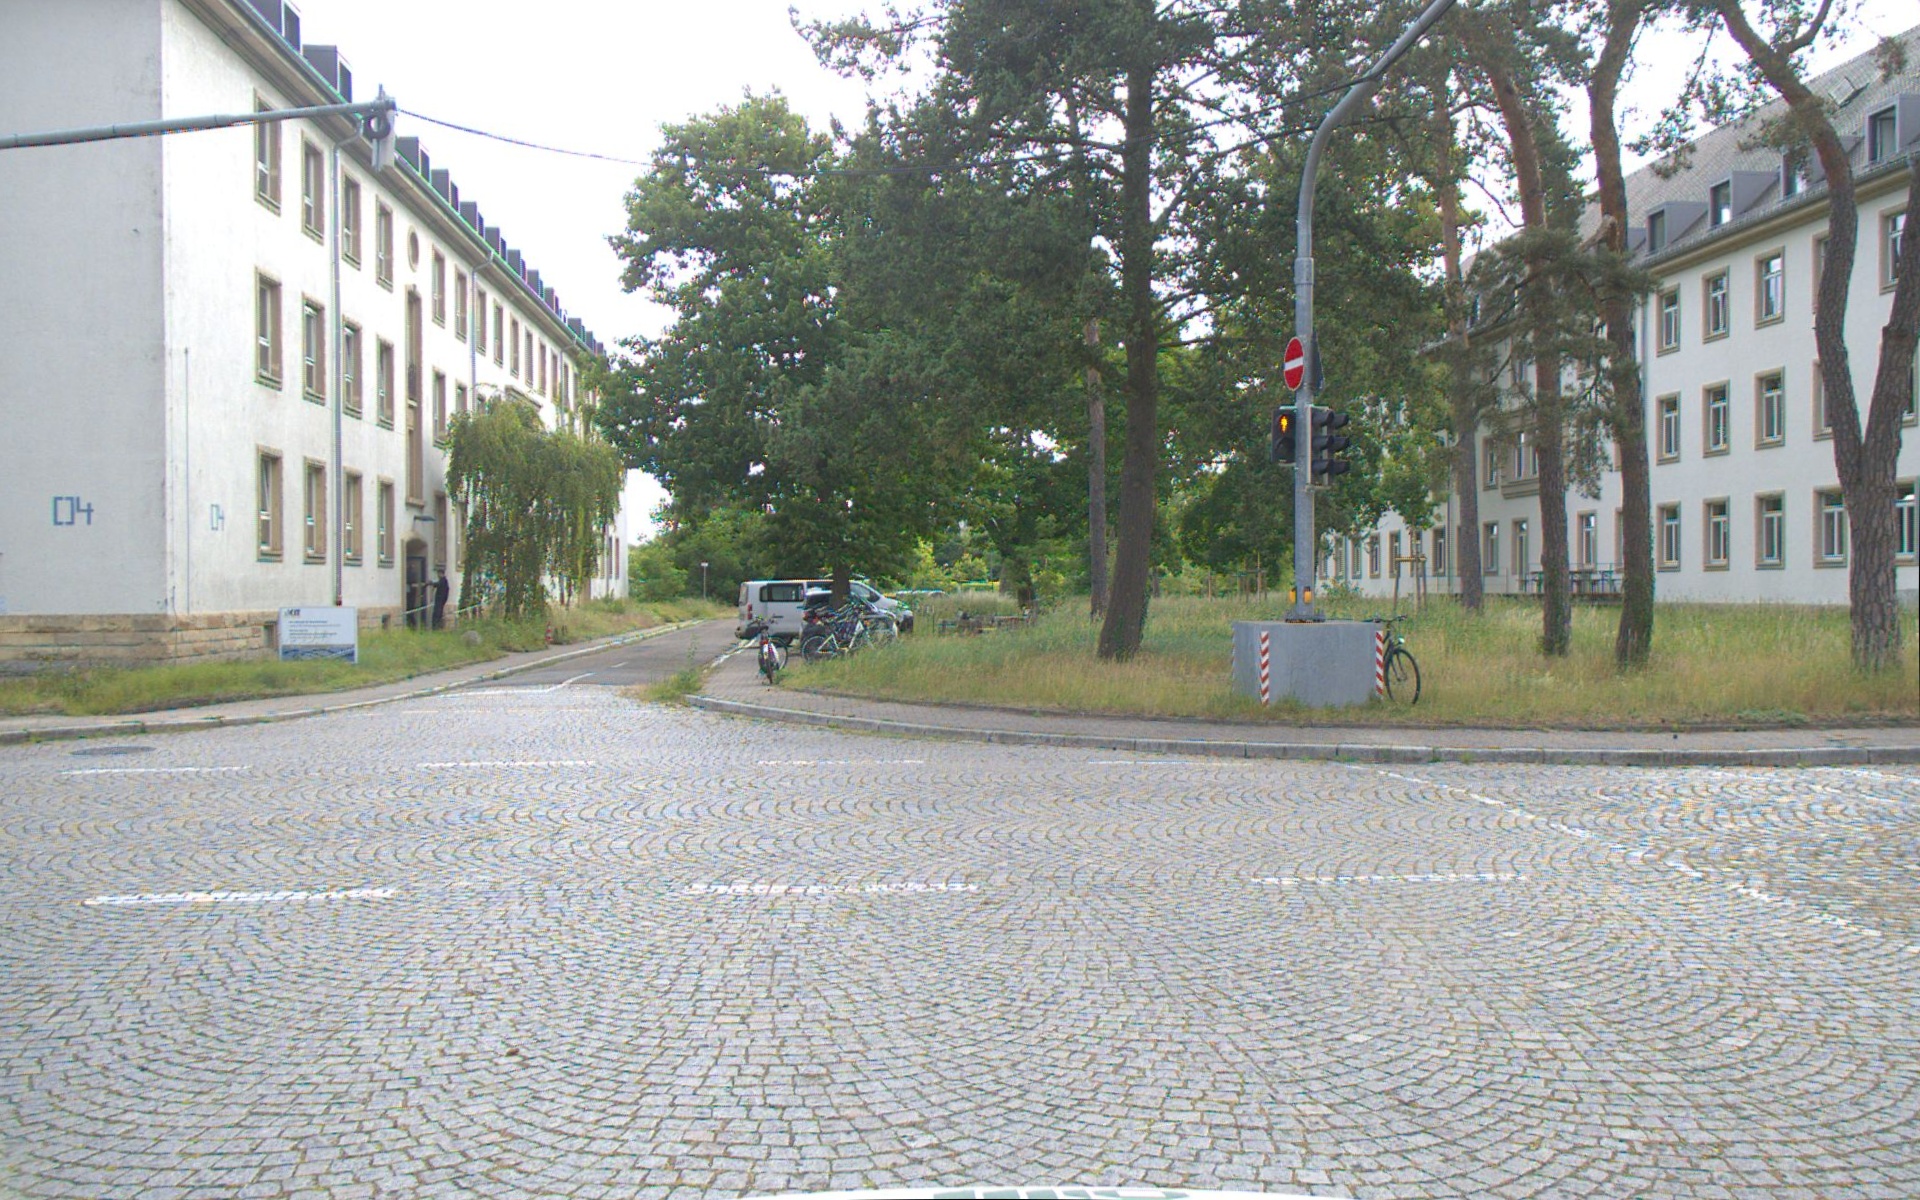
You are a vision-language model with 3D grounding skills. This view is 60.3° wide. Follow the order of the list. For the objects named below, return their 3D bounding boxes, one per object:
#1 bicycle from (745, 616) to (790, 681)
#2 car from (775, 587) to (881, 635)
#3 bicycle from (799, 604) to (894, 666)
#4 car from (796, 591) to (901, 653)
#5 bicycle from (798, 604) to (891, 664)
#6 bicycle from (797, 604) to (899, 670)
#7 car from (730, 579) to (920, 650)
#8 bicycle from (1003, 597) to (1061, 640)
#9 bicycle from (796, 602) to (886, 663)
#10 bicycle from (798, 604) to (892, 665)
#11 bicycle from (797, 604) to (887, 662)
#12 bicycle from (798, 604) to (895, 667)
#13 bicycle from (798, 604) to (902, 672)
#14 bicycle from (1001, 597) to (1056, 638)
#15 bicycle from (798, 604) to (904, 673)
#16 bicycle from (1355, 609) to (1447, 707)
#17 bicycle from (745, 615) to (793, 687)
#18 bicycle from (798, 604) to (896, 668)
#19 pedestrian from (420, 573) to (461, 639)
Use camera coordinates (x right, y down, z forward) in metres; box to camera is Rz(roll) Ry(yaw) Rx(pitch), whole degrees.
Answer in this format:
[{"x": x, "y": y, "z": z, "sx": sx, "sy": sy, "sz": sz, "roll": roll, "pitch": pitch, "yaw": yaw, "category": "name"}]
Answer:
[{"x": -3.390, "y": 0.844, "z": 29.287, "sx": 0.609, "sy": 1.101, "sz": 1.677, "roll": 1, "pitch": 0, "yaw": -1, "category": "bicycle"}, {"x": -5.002, "y": 0.394, "z": 62.653, "sx": 3.954, "sy": 1.748, "sz": 1.679, "roll": -1, "pitch": 0, "yaw": -6, "category": "car"}, {"x": -2.366, "y": 0.720, "z": 34.386, "sx": 1.944, "sy": 1.269, "sz": 0.623, "roll": 1, "pitch": 0, "yaw": -7, "category": "bicycle"}, {"x": -3.068, "y": 0.577, "z": 45.409, "sx": 2.792, "sy": 1.585, "sz": 1.470, "roll": -1, "pitch": 1, "yaw": -6, "category": "car"}, {"x": -2.482, "y": 0.721, "z": 35.457, "sx": 1.944, "sy": 1.269, "sz": 0.623, "roll": 1, "pitch": 0, "yaw": -7, "category": "bicycle"}, {"x": -2.200, "y": 0.716, "z": 32.377, "sx": 1.944, "sy": 1.269, "sz": 0.623, "roll": 1, "pitch": 0, "yaw": -7, "category": "bicycle"}, {"x": -3.978, "y": 0.395, "z": 48.815, "sx": 5.225, "sy": 1.949, "sz": 2.138, "roll": -1, "pitch": 0, "yaw": -20, "category": "car"}, {"x": 1.942, "y": 0.486, "z": 44.783, "sx": 1.518, "sy": 1.144, "sz": 0.401, "roll": 0, "pitch": 0, "yaw": -3, "category": "bicycle"}, {"x": -2.675, "y": 0.724, "z": 37.112, "sx": 1.944, "sy": 1.269, "sz": 0.623, "roll": -2, "pitch": 0, "yaw": -7, "category": "bicycle"}, {"x": -2.433, "y": 0.720, "z": 34.799, "sx": 1.944, "sy": 1.269, "sz": 0.623, "roll": 1, "pitch": 0, "yaw": -7, "category": "bicycle"}, {"x": -2.613, "y": 0.723, "z": 36.456, "sx": 1.944, "sy": 1.269, "sz": 0.623, "roll": 1, "pitch": 0, "yaw": -7, "category": "bicycle"}, {"x": -2.333, "y": 0.719, "z": 33.862, "sx": 1.944, "sy": 1.269, "sz": 0.623, "roll": 1, "pitch": 0, "yaw": -7, "category": "bicycle"}, {"x": -2.100, "y": 0.714, "z": 31.457, "sx": 1.944, "sy": 1.269, "sz": 0.623, "roll": 1, "pitch": 0, "yaw": -7, "category": "bicycle"}, {"x": 1.904, "y": 0.486, "z": 46.015, "sx": 1.518, "sy": 1.144, "sz": 0.401, "roll": 0, "pitch": 0, "yaw": -3, "category": "bicycle"}, {"x": -2.042, "y": 0.713, "z": 30.831, "sx": 1.944, "sy": 1.269, "sz": 0.623, "roll": 1, "pitch": 0, "yaw": -7, "category": "bicycle"}, {"x": 5.044, "y": 0.640, "z": 18.997, "sx": 0.568, "sy": 0.987, "sz": 1.678, "roll": -2, "pitch": 2, "yaw": -1, "category": "bicycle"}, {"x": -3.145, "y": 0.826, "z": 27.349, "sx": 0.610, "sy": 1.133, "sz": 1.988, "roll": 1, "pitch": 0, "yaw": -2, "category": "bicycle"}, {"x": -2.280, "y": 0.717, "z": 33.232, "sx": 1.944, "sy": 1.269, "sz": 0.623, "roll": 1, "pitch": 0, "yaw": -7, "category": "bicycle"}, {"x": -14.355, "y": 0.159, "z": 45.710, "sx": 0.820, "sy": 1.812, "sz": 0.941, "roll": 0, "pitch": 0, "yaw": 1, "category": "pedestrian"}]
